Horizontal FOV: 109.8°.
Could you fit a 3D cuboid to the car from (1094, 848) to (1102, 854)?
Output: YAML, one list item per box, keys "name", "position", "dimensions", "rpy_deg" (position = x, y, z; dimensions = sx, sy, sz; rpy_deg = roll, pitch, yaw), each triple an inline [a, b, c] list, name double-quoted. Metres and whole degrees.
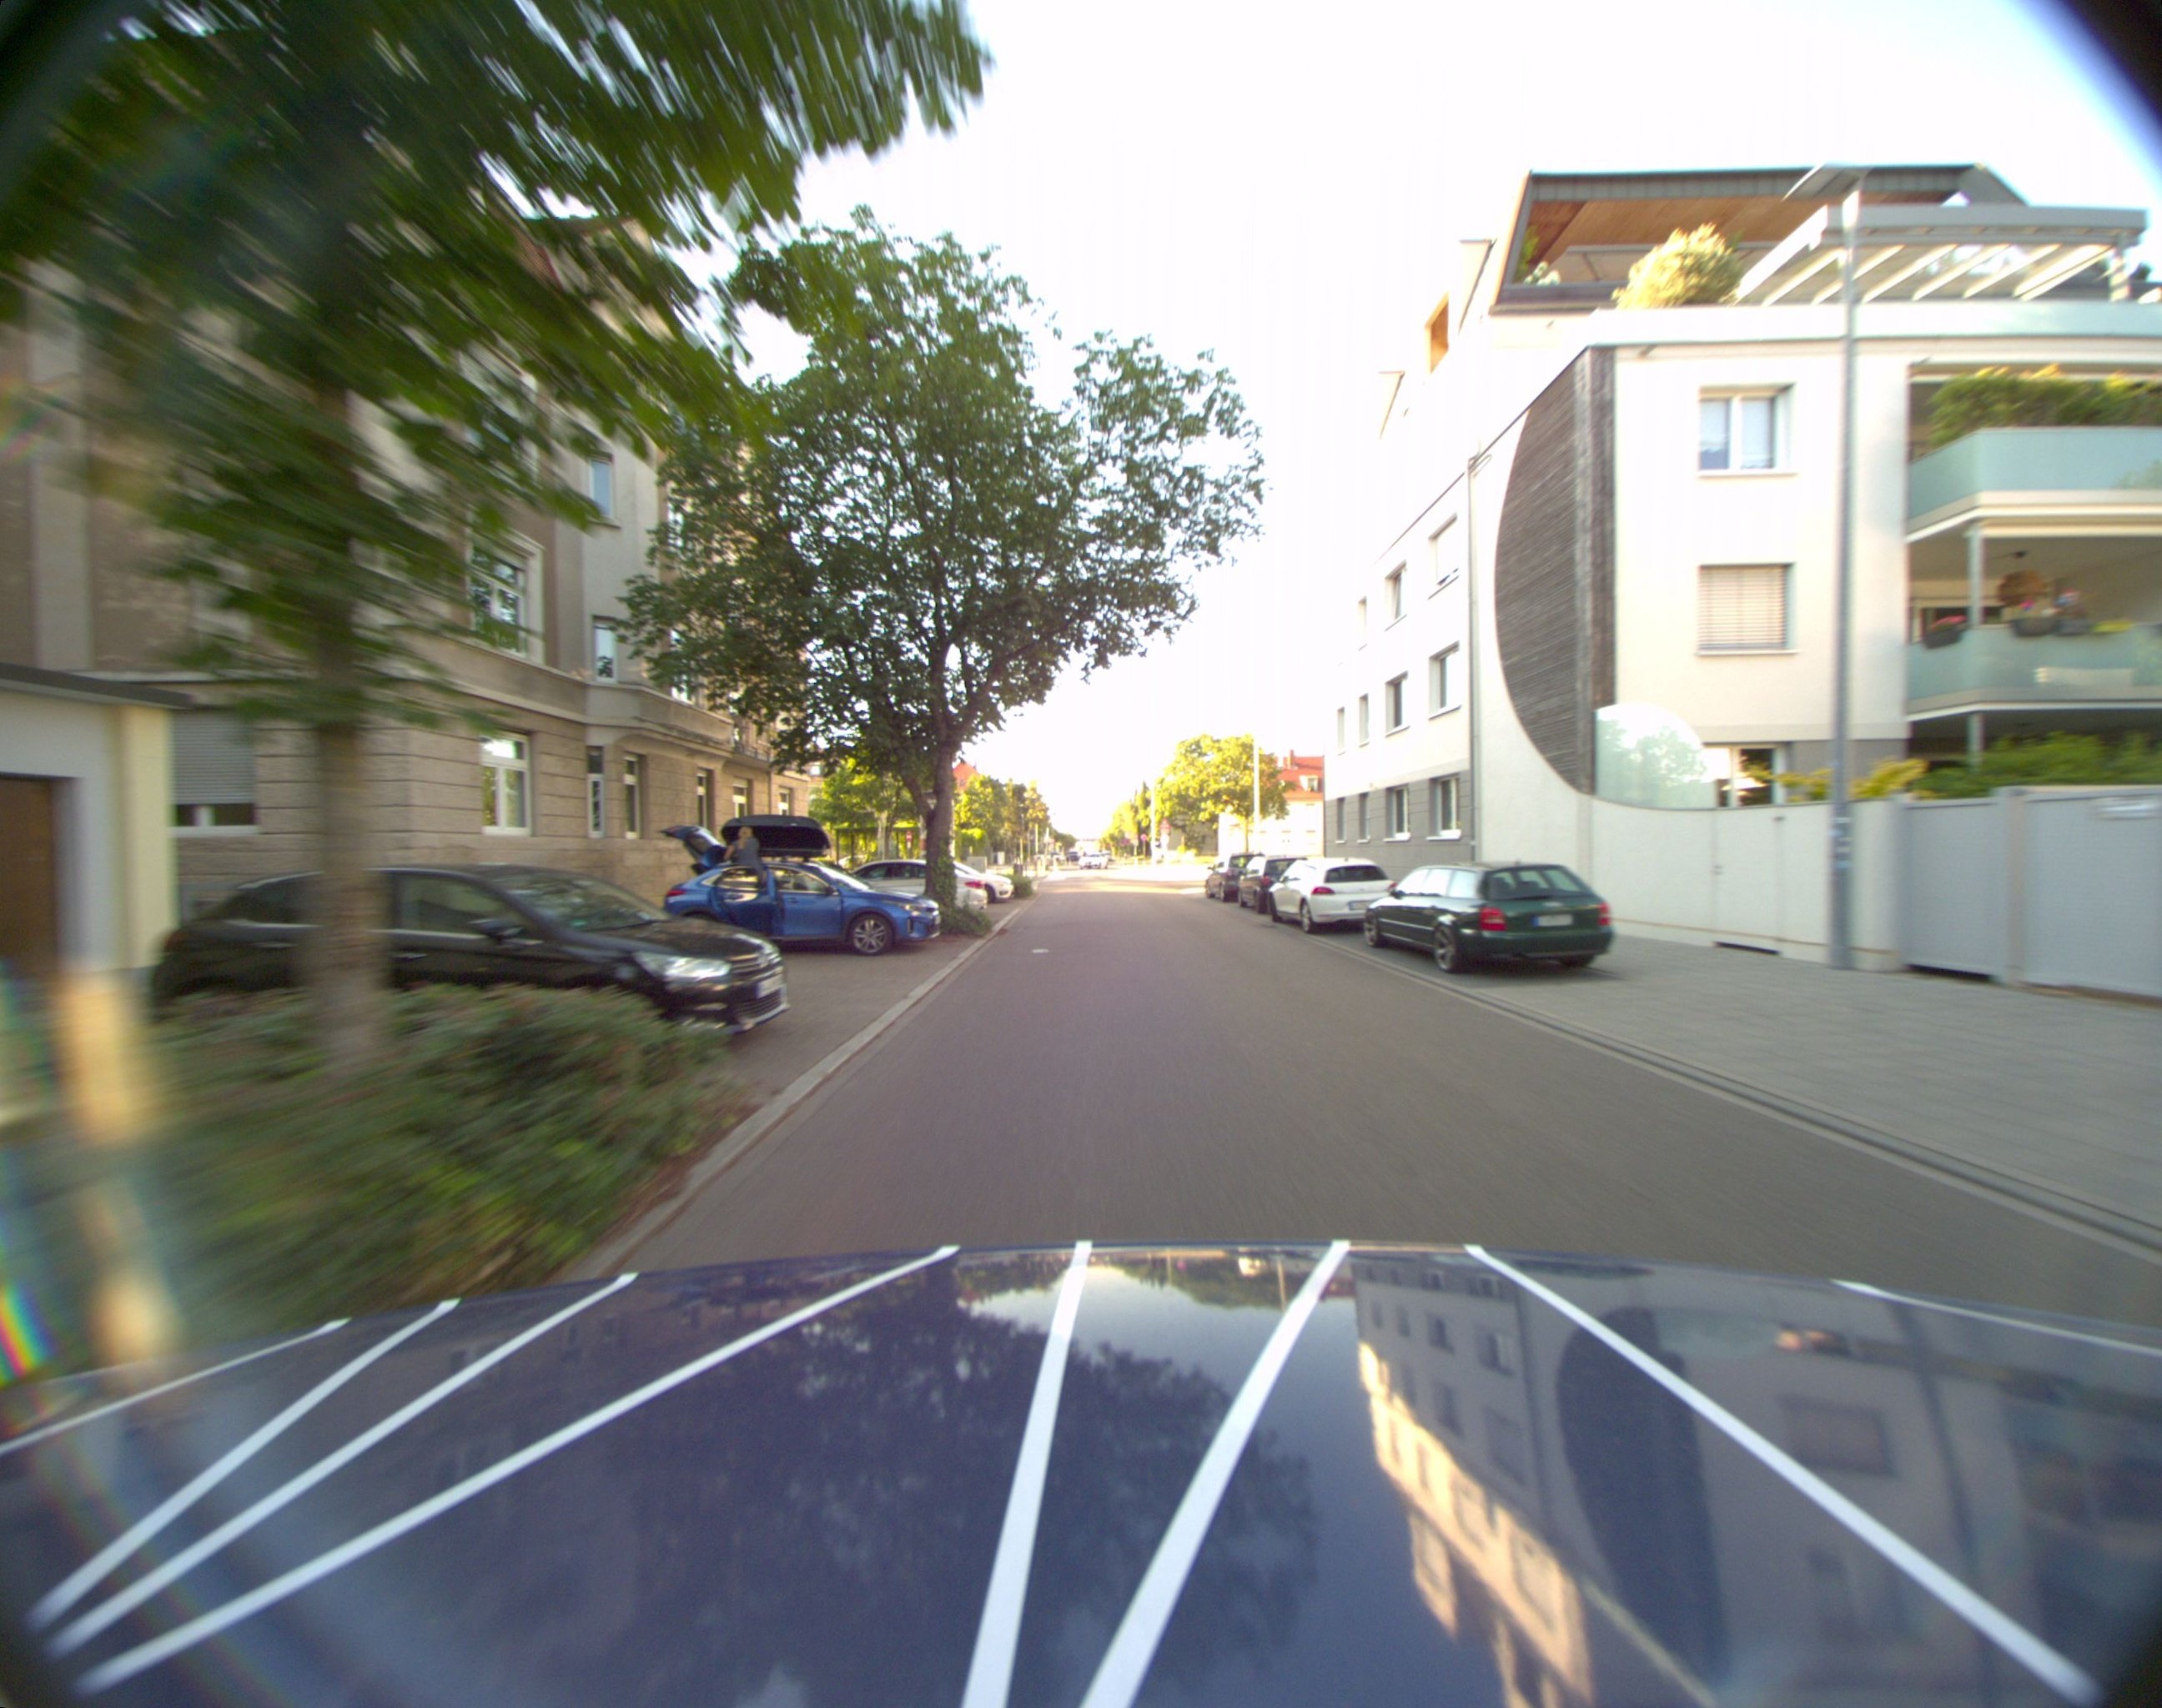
- name: "car"
  position: [4.800, -0.732, 213.351]
  dimensions: [1.970, 1.604, 4.246]
  rpy_deg: [-1, 1, 0]

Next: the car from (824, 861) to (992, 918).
- name: "car"
  position: [-4.571, 0.924, 20.526]
  dimensions: [4.153, 1.439, 1.673]
  rpy_deg: [0, 1, -1]

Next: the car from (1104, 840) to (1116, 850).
- name: "car"
  position: [5.126, -1.635, 135.040]
  dimensions: [1.970, 1.604, 4.246]
  rpy_deg: [-1, 1, 0]

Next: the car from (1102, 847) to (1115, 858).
- name: "car"
  position: [4.366, -0.256, 120.855]
  dimensions: [1.970, 1.604, 4.246]
  rpy_deg: [-1, 1, 0]

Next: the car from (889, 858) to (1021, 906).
- name: "car"
  position: [-4.121, 0.903, 25.324]
  dimensions: [4.059, 1.497, 1.861]
  rpy_deg: [-1, 1, -1]

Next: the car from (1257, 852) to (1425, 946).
- name: "car"
  position: [5.067, 0.792, 15.439]
  dimensions: [1.889, 1.582, 4.089]
  rpy_deg: [-1, 1, -2]

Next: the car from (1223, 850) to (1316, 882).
- name: "car"
  position: [10.698, 0.684, 43.323]
  dimensions: [4.835, 1.659, 1.788]
  rpy_deg: [-1, 1, 1]

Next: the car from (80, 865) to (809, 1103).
- name: "car"
  position: [-4.625, 0.889, 6.073]
  dimensions: [4.201, 1.549, 1.874]
  rpy_deg: [-1, 0, -1]

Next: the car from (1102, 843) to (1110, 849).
- name: "car"
  position: [6.483, -2.154, 197.406]
  dimensions: [1.970, 1.604, 4.246]
  rpy_deg: [-1, 1, 0]

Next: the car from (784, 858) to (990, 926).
- name: "car"
  position: [-4.446, 0.870, 18.048]
  dimensions: [4.490, 1.516, 1.953]
  rpy_deg: [0, 0, -5]

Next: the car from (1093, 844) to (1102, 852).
- name: "car"
  position: [3.594, -1.318, 166.993]
  dimensions: [1.970, 1.604, 4.246]
  rpy_deg: [-1, 1, 0]

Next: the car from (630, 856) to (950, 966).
- name: "car"
  position: [-4.613, 0.875, 12.568]
  dimensions: [4.538, 1.631, 1.874]
  rpy_deg: [-1, 1, -1]

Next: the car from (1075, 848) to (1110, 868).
- name: "car"
  position: [1.073, 0.396, 68.152]
  dimensions: [1.867, 1.685, 4.307]
  rpy_deg: [-2, -1, 20]

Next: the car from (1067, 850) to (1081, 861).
- name: "car"
  position: [-1.172, 0.232, 119.977]
  dimensions: [1.971, 1.604, 4.245]
  rpy_deg: [-1, 1, -3]

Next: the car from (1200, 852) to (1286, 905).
- name: "car"
  position: [5.336, 0.744, 25.555]
  dimensions: [1.889, 1.582, 4.089]
  rpy_deg: [-1, 1, -2]

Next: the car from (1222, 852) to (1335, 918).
- name: "car"
  position: [5.262, 0.760, 20.794]
  dimensions: [1.889, 1.582, 4.089]
  rpy_deg: [-1, 1, -2]

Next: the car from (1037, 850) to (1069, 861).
- name: "car"
  position: [-4.288, 0.250, 115.585]
  dimensions: [4.835, 1.604, 1.971]
  rpy_deg: [0, 1, -1]

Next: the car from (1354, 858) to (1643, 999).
- name: "car"
  position: [5.378, 0.845, 10.505]
  dimensions: [1.762, 1.439, 4.141]
  rpy_deg: [-1, 1, 1]

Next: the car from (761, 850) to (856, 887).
- name: "car"
  position: [-13.604, 0.745, 38.046]
  dimensions: [4.085, 1.730, 1.812]
  rpy_deg: [-1, -1, -2]
